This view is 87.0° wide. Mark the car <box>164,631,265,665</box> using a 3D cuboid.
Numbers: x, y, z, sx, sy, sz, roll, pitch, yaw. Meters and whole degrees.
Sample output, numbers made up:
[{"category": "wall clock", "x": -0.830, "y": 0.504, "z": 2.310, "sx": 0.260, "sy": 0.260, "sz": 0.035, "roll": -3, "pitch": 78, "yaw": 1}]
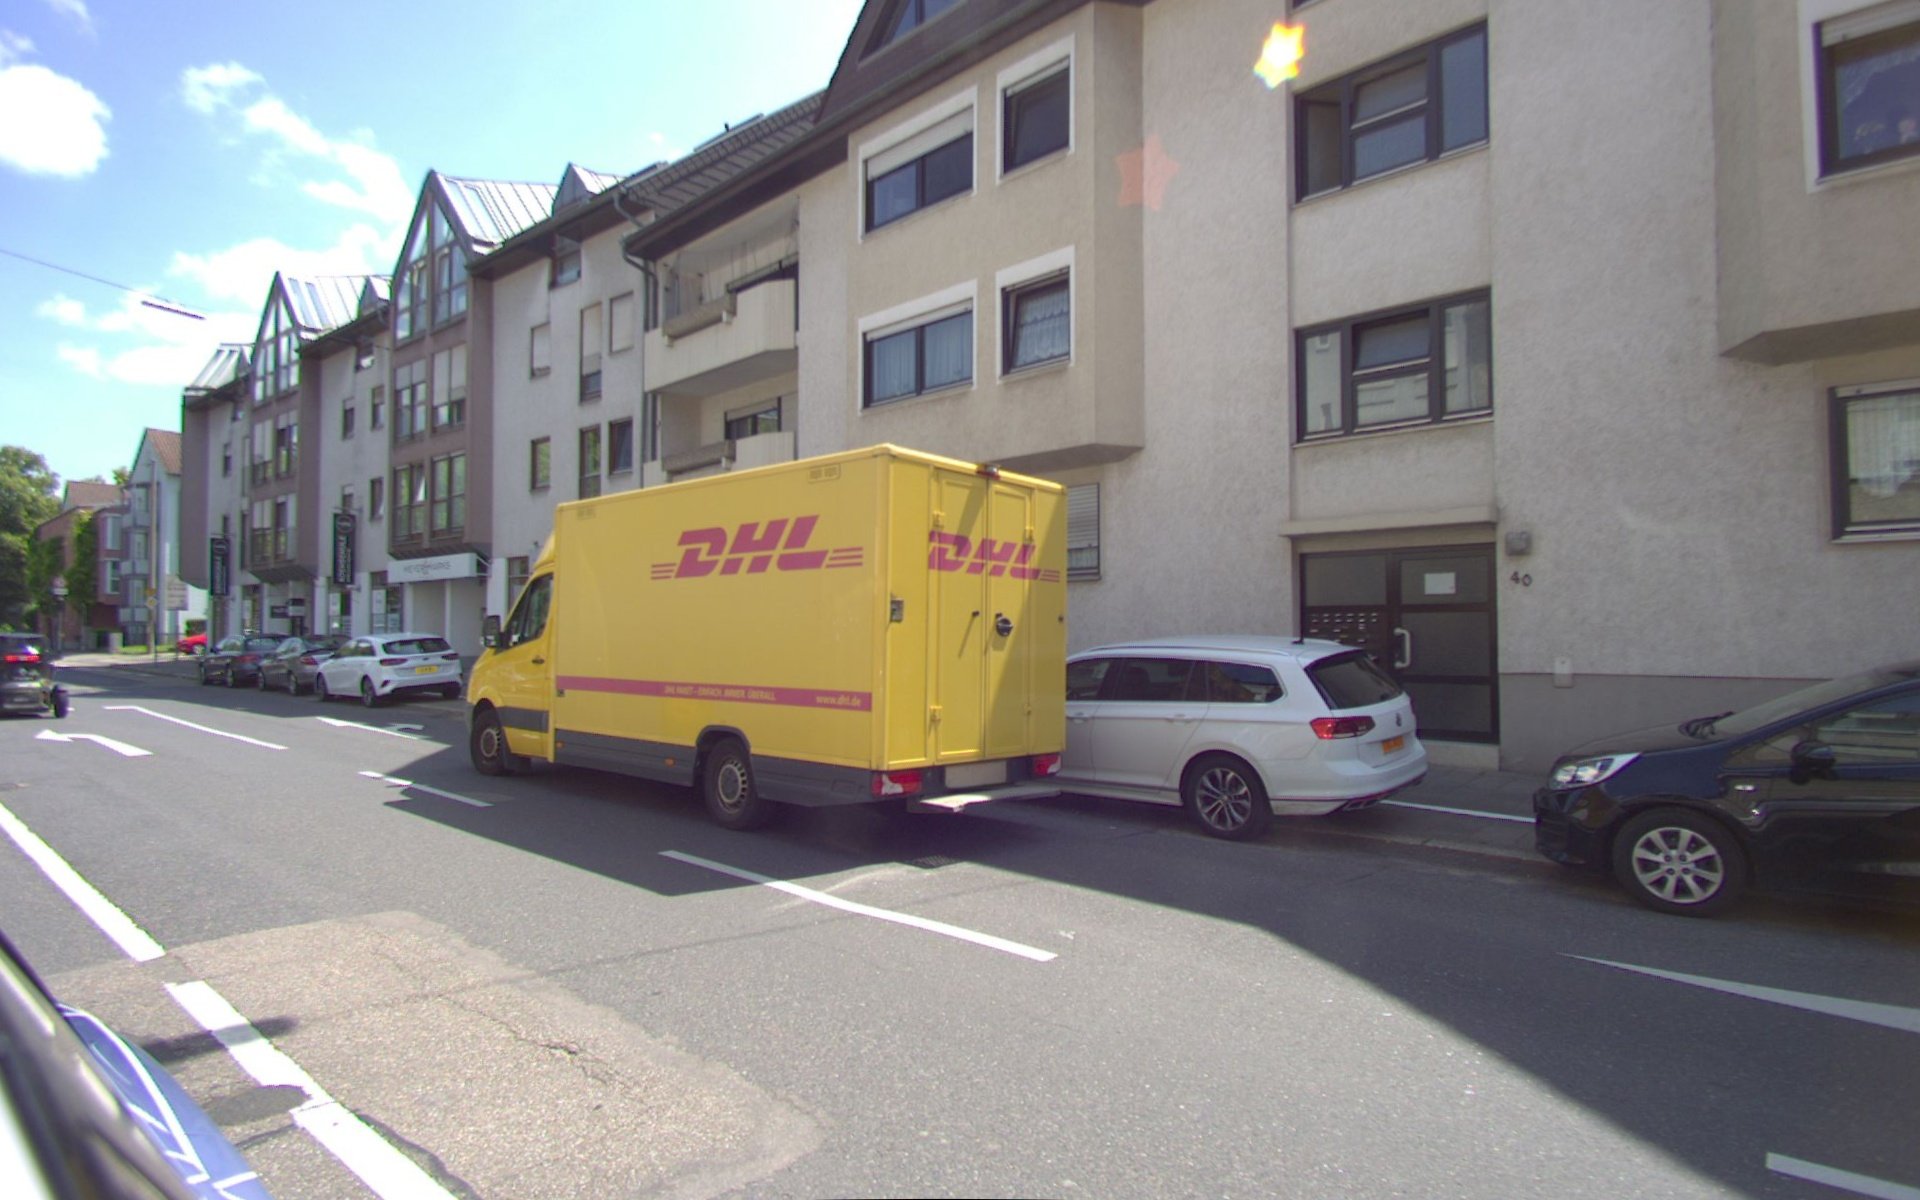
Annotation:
[{"category": "car", "x": -39.168, "y": 2.505, "z": 53.242, "sx": 1.731, "sy": 1.463, "sz": 3.948, "roll": -4, "pitch": 0, "yaw": 39}]

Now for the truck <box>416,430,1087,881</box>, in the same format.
[{"category": "truck", "x": -2.539, "y": 0.481, "z": 9.646, "sx": 7.562, "sy": 2.792, "sz": 2.201, "roll": -2, "pitch": -5, "yaw": 43}]

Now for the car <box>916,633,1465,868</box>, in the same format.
[{"category": "car", "x": 1.821, "y": 1.076, "z": 8.928, "sx": 4.385, "sy": 1.499, "sz": 1.820, "roll": -2, "pitch": 0, "yaw": 42}]

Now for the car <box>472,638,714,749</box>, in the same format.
[{"category": "car", "x": -6.126, "y": 1.416, "z": 16.628, "sx": 4.384, "sy": 1.500, "sz": 1.821, "roll": -1, "pitch": 0, "yaw": 41}]

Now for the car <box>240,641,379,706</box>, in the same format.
[{"category": "car", "x": -16.457, "y": 1.782, "z": 25.512, "sx": 4.325, "sy": 1.394, "sz": 1.820, "roll": -2, "pitch": 0, "yaw": 41}]

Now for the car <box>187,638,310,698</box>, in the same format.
[{"category": "car", "x": -20.303, "y": 1.870, "z": 28.783, "sx": 4.967, "sy": 1.458, "sz": 1.820, "roll": -2, "pitch": 0, "yaw": 42}]

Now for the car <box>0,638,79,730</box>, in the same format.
[{"category": "car", "x": -16.351, "y": 1.383, "z": 17.202, "sx": 2.717, "sy": 1.470, "sz": 1.483, "roll": -2, "pitch": -3, "yaw": 36}]

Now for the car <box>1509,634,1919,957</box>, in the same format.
[{"category": "car", "x": 5.600, "y": 0.968, "z": 5.301, "sx": 4.499, "sy": 1.499, "sz": 1.821, "roll": -1, "pitch": 0, "yaw": 41}]

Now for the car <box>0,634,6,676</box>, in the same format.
[{"category": "car", "x": -40.362, "y": 2.229, "z": 41.100, "sx": 4.437, "sy": 1.633, "sz": 1.794, "roll": -3, "pitch": -5, "yaw": 40}]

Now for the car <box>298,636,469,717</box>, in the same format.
[{"category": "car", "x": -12.578, "y": 1.572, "z": 21.964, "sx": 4.383, "sy": 1.500, "sz": 1.821, "roll": -1, "pitch": 0, "yaw": 40}]
